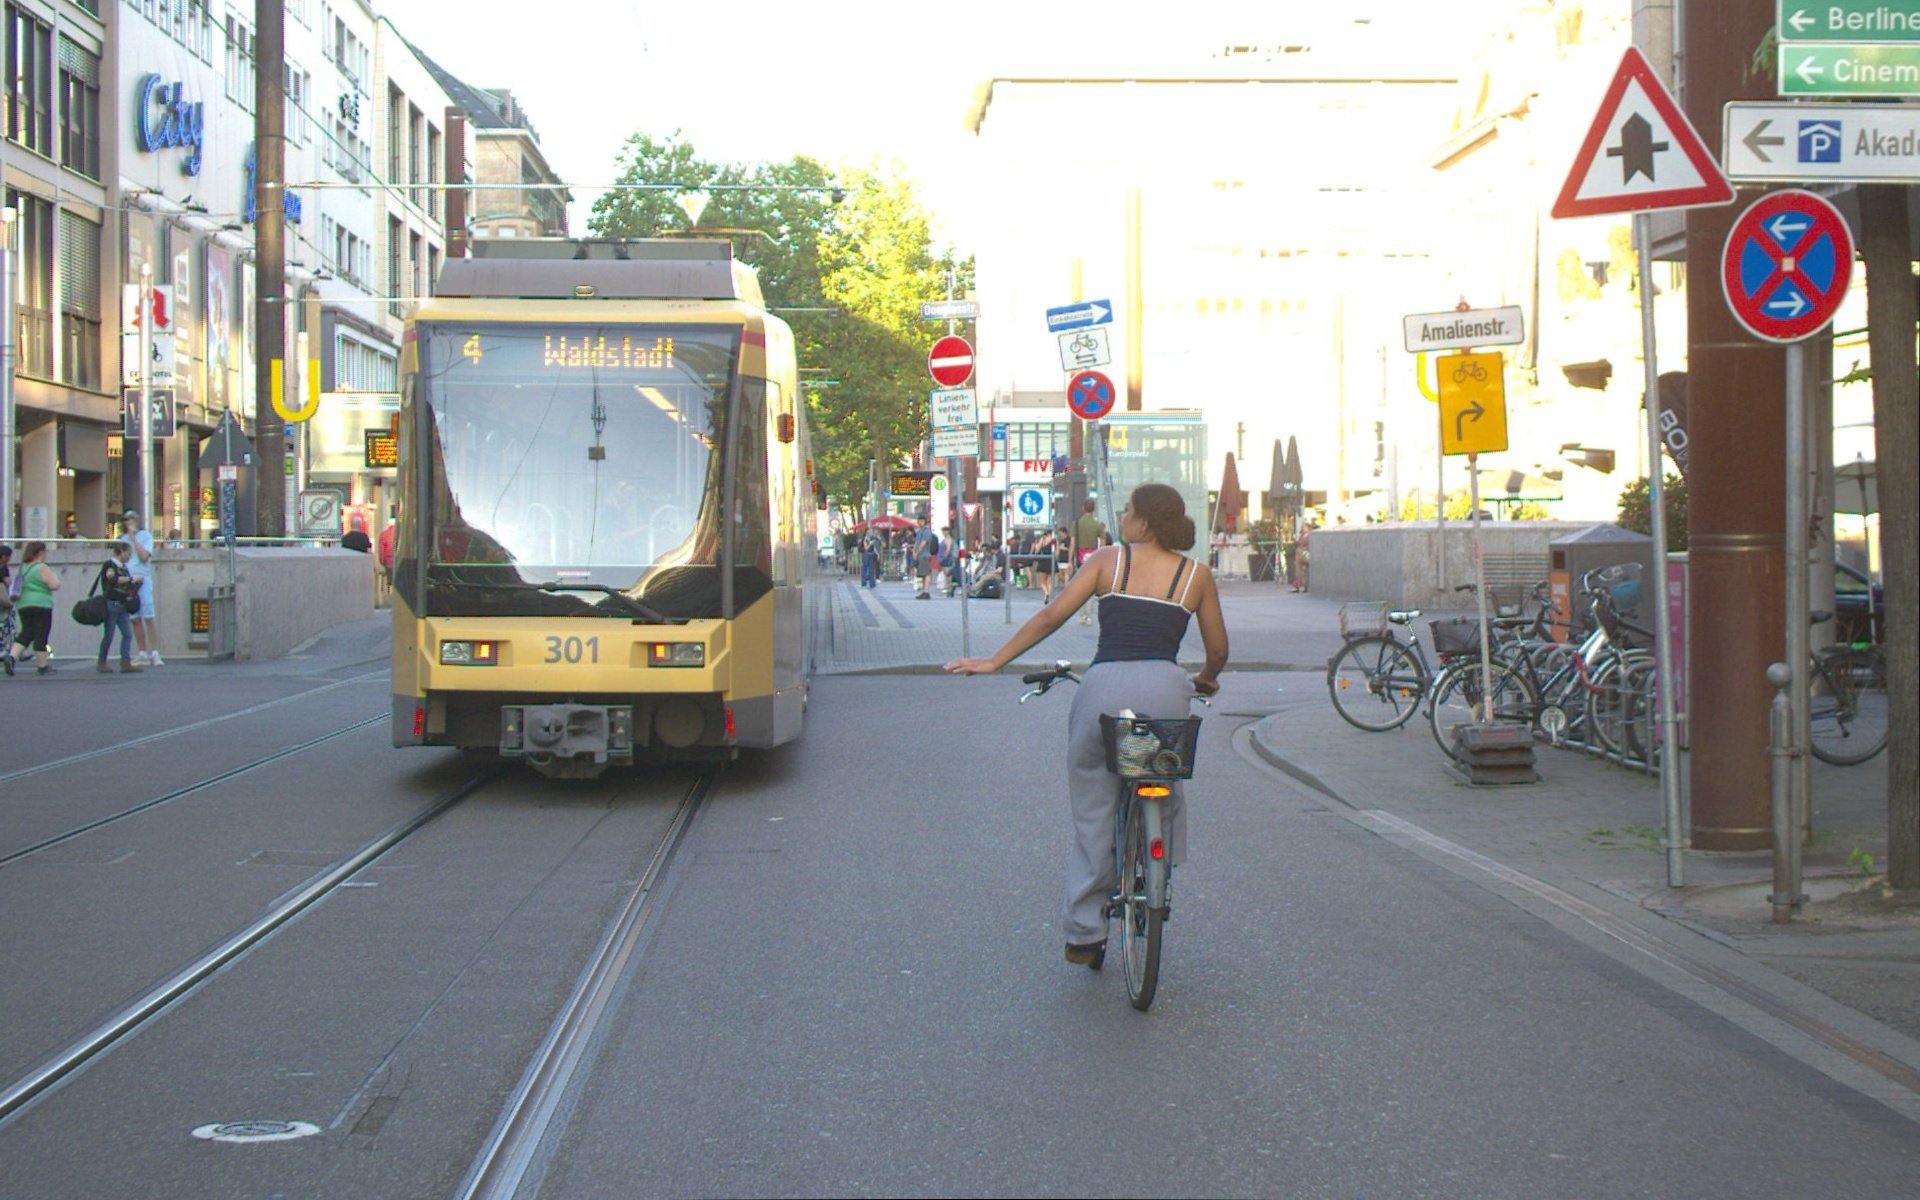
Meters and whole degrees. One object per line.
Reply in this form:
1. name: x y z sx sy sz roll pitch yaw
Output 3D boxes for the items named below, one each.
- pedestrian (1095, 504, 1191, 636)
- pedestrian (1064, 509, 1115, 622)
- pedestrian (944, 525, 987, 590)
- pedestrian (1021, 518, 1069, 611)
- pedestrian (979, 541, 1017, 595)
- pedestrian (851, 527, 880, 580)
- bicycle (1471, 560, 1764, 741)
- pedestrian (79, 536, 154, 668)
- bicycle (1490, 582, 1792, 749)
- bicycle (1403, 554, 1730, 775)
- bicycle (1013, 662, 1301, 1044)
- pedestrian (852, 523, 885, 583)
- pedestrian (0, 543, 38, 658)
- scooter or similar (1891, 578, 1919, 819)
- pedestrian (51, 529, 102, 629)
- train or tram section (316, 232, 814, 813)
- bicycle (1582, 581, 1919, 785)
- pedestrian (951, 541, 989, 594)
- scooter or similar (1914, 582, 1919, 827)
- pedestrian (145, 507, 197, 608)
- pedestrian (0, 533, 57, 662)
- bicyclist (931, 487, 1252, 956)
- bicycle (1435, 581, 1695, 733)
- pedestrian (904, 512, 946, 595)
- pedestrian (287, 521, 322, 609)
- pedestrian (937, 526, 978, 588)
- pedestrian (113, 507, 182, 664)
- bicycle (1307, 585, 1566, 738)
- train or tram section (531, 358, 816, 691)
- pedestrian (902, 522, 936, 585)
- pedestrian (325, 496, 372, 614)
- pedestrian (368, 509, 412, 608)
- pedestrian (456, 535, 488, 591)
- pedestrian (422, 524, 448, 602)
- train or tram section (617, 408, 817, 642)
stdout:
1. pedestrian: 2.605 -0.435 49.116 1.013 1.857 1.043 1 1 -21
2. pedestrian: 1.981 -0.522 52.658 0.718 1.719 0.709 0 0 -2
3. pedestrian: 0.136 -1.040 83.684 0.768 1.573 0.793 1 1 28
4. pedestrian: 1.662 -0.694 67.492 0.733 1.817 0.820 0 1 -16
5. pedestrian: 0.864 -0.738 79.169 0.792 1.217 0.769 0 1 -5
6. pedestrian: -3.018 -1.487 109.532 0.792 1.655 0.769 0 1 10
7. bicycle: 4.782 0.357 25.060 1.914 1.218 0.763 -2 1 -6
8. pedestrian: -9.898 0.026 40.344 0.684 1.536 0.605 0 0 6
9. bicycle: 4.805 0.453 24.315 1.914 1.074 0.763 -2 1 -6
10. bicycle: 3.922 0.405 22.298 1.914 1.328 0.726 -2 1 -6
11. bicycle: 0.621 0.798 11.621 0.815 1.069 2.113 2 1 0
12. pedestrian: -2.545 -1.310 95.917 0.767 1.655 0.794 0 1 10
13. pedestrian: -12.039 0.008 43.208 0.555 1.429 0.684 0 0 36
14. scooter or similar: 5.393 0.499 18.362 0.393 1.247 1.189 0 2 36
15. pedestrian: -15.240 -0.358 59.315 0.713 1.719 0.709 0 0 -3
16. train or tram section: -2.562 -0.597 26.905 2.800 3.308 14.510 0 1 -2
17. bicycle: 4.952 0.501 21.330 1.995 1.151 0.726 -2 1 -6
18. pedestrian: 0.233 -0.756 79.957 0.792 1.217 0.769 0 1 -5
19. scooter or similar: 5.479 0.519 17.667 1.187 1.247 0.393 -2 2 -31
20. pedestrian: -13.468 -0.719 58.677 0.605 1.719 0.626 0 0 45
21. pedestrian: -10.835 -0.033 39.965 0.603 1.489 0.555 0 0 -10
22. bicyclist: 0.421 0.387 11.580 0.997 1.497 0.857 2 1 -1
23. bicycle: 4.666 0.431 26.581 1.852 1.105 0.667 -1 1 -4
24. pedestrian: -0.779 -1.031 76.147 0.733 1.817 0.820 0 1 -16
25. pedestrian: -11.755 -0.625 61.675 0.603 1.583 0.628 0 0 -11
26. pedestrian: -0.065 -1.094 87.791 0.768 1.573 0.793 1 1 28
27. pedestrian: -9.994 -0.177 42.294 0.773 1.919 0.709 0 0 -10
28. bicycle: 3.649 0.464 26.391 1.852 1.105 0.667 -1 1 -4
29. train or tram section: -3.142 -0.904 41.377 2.800 3.308 14.510 0 1 -2
30. pedestrian: -1.089 -1.246 91.854 0.792 1.655 0.769 0 1 10
31. pedestrian: -9.974 -0.736 56.107 0.713 1.918 0.709 0 0 -7
32. pedestrian: -9.821 -0.712 59.240 0.713 1.692 0.786 0 0 -8
33. pedestrian: -11.969 -0.906 84.374 0.707 1.374 0.720 0 0 -3
34. pedestrian: -10.900 -0.768 71.399 0.511 1.612 0.505 0 0 -11
35. train or tram section: -3.729 -1.214 55.842 2.800 3.308 14.510 0 1 -2
